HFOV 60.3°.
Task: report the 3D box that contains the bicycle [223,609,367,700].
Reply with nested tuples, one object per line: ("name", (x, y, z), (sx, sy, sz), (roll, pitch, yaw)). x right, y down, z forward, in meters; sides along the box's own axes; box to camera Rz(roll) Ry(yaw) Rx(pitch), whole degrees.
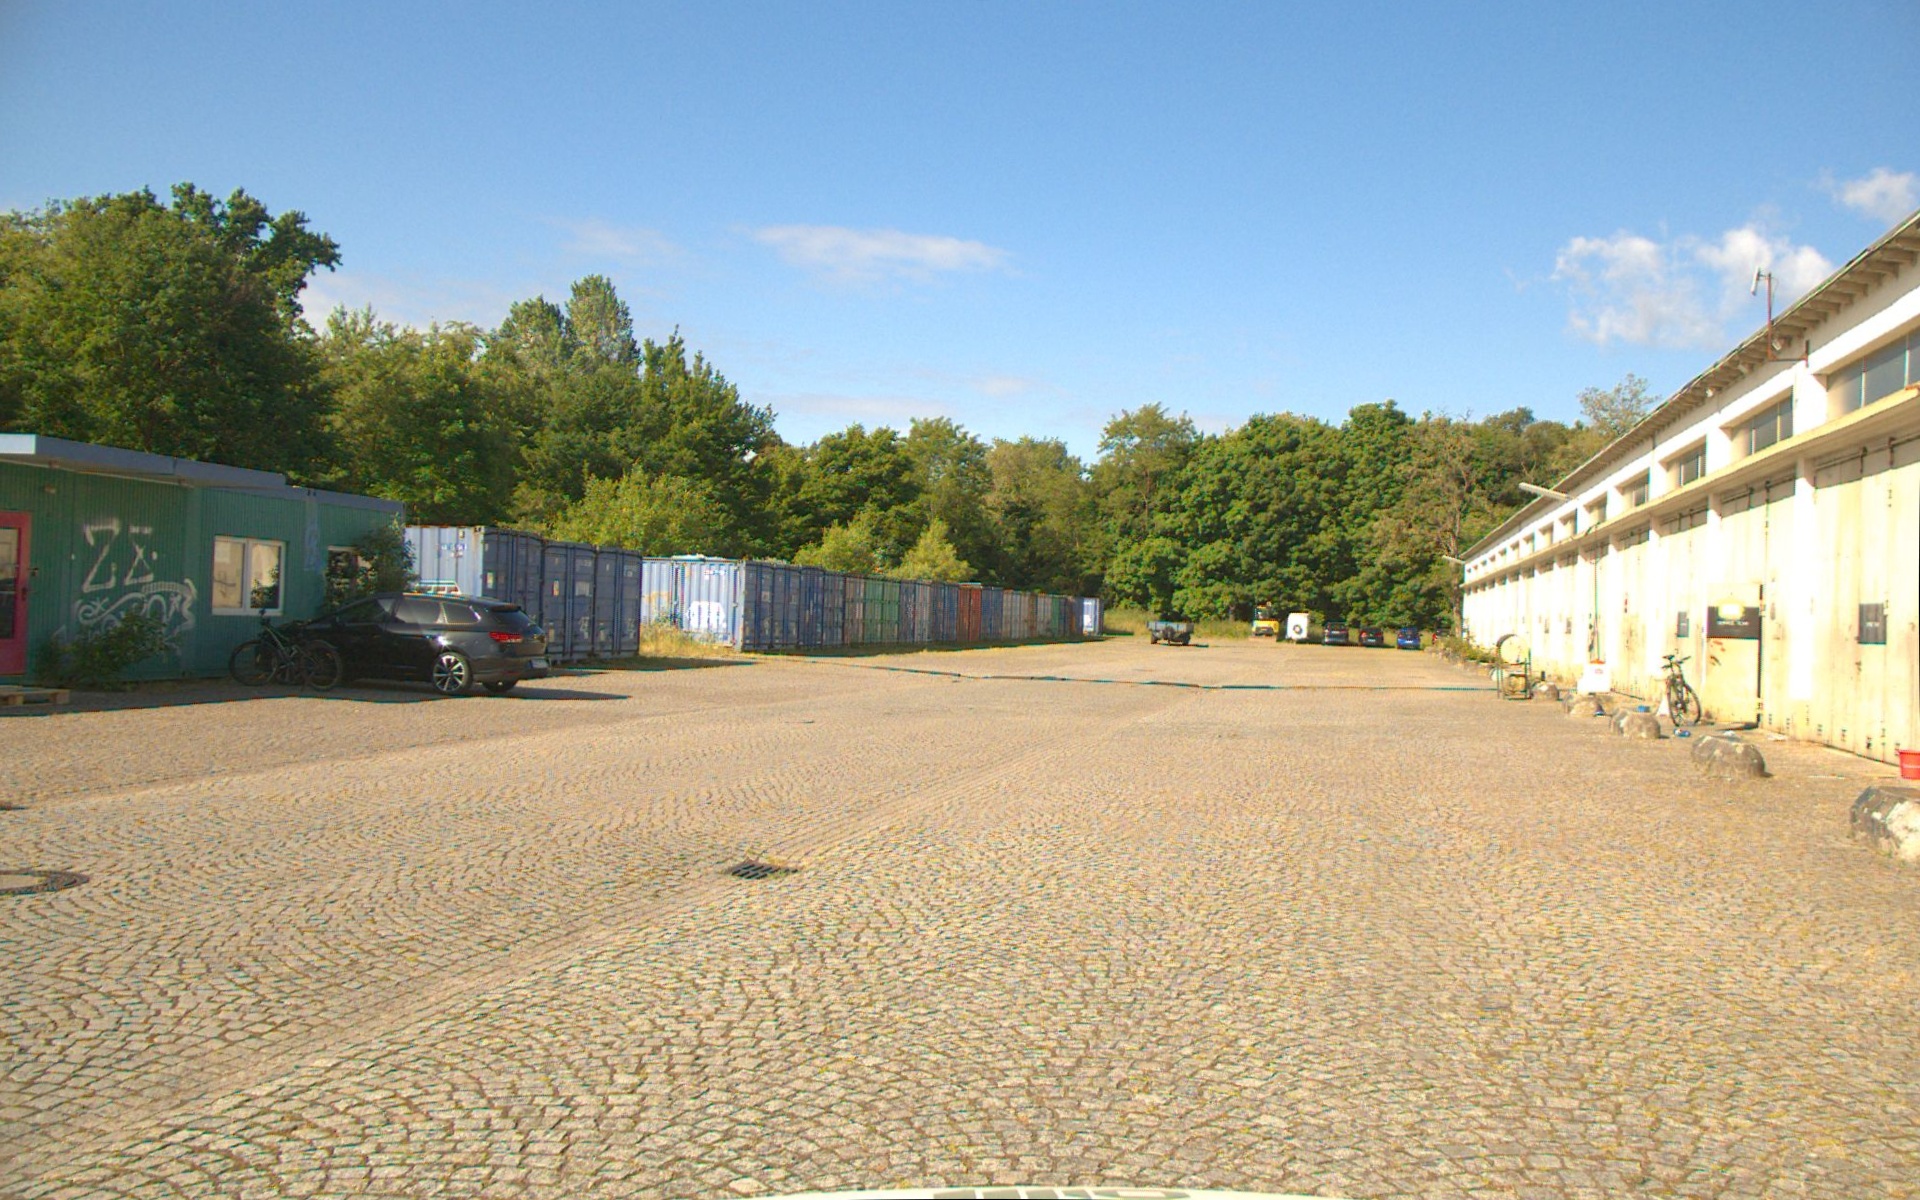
("bicycle", (-9.447, 0.764, 23.501), (1.765, 1.190, 0.669), (3, -1, 11))

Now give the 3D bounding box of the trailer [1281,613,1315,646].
("trailer", (24.555, 2.088, 120.050), (2.147, 2.131, 5.756), (3, 1, 13))

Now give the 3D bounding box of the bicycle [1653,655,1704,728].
("bicycle", (11.494, 1.443, 26.420), (0.651, 1.087, 1.822), (2, -1, 26))

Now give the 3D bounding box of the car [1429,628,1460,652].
("car", (34.264, 2.822, 116.893), (1.708, 1.461, 4.183), (3, 1, 21))

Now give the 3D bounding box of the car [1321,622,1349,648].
("car", (26.545, 2.486, 117.083), (1.824, 1.617, 4.299), (3, 1, 13))

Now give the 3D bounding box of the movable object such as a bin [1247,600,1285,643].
("movable object such as a bin", (22.454, 1.551, 121.203), (2.257, 2.947, 5.755), (3, 1, 15))

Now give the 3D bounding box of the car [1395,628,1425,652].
("car", (31.600, 2.797, 116.115), (1.708, 1.461, 4.184), (3, 1, 19))

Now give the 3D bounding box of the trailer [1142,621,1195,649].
("trailer", (12.928, 2.129, 102.249), (2.648, 1.491, 6.252), (3, 1, 12))

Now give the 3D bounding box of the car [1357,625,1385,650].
("car", (28.992, 2.635, 116.840), (1.824, 1.495, 4.299), (3, 1, 13))

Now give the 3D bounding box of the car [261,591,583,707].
("car", (-8.103, 0.720, 25.051), (4.161, 1.475, 1.933), (3, -1, 12))
